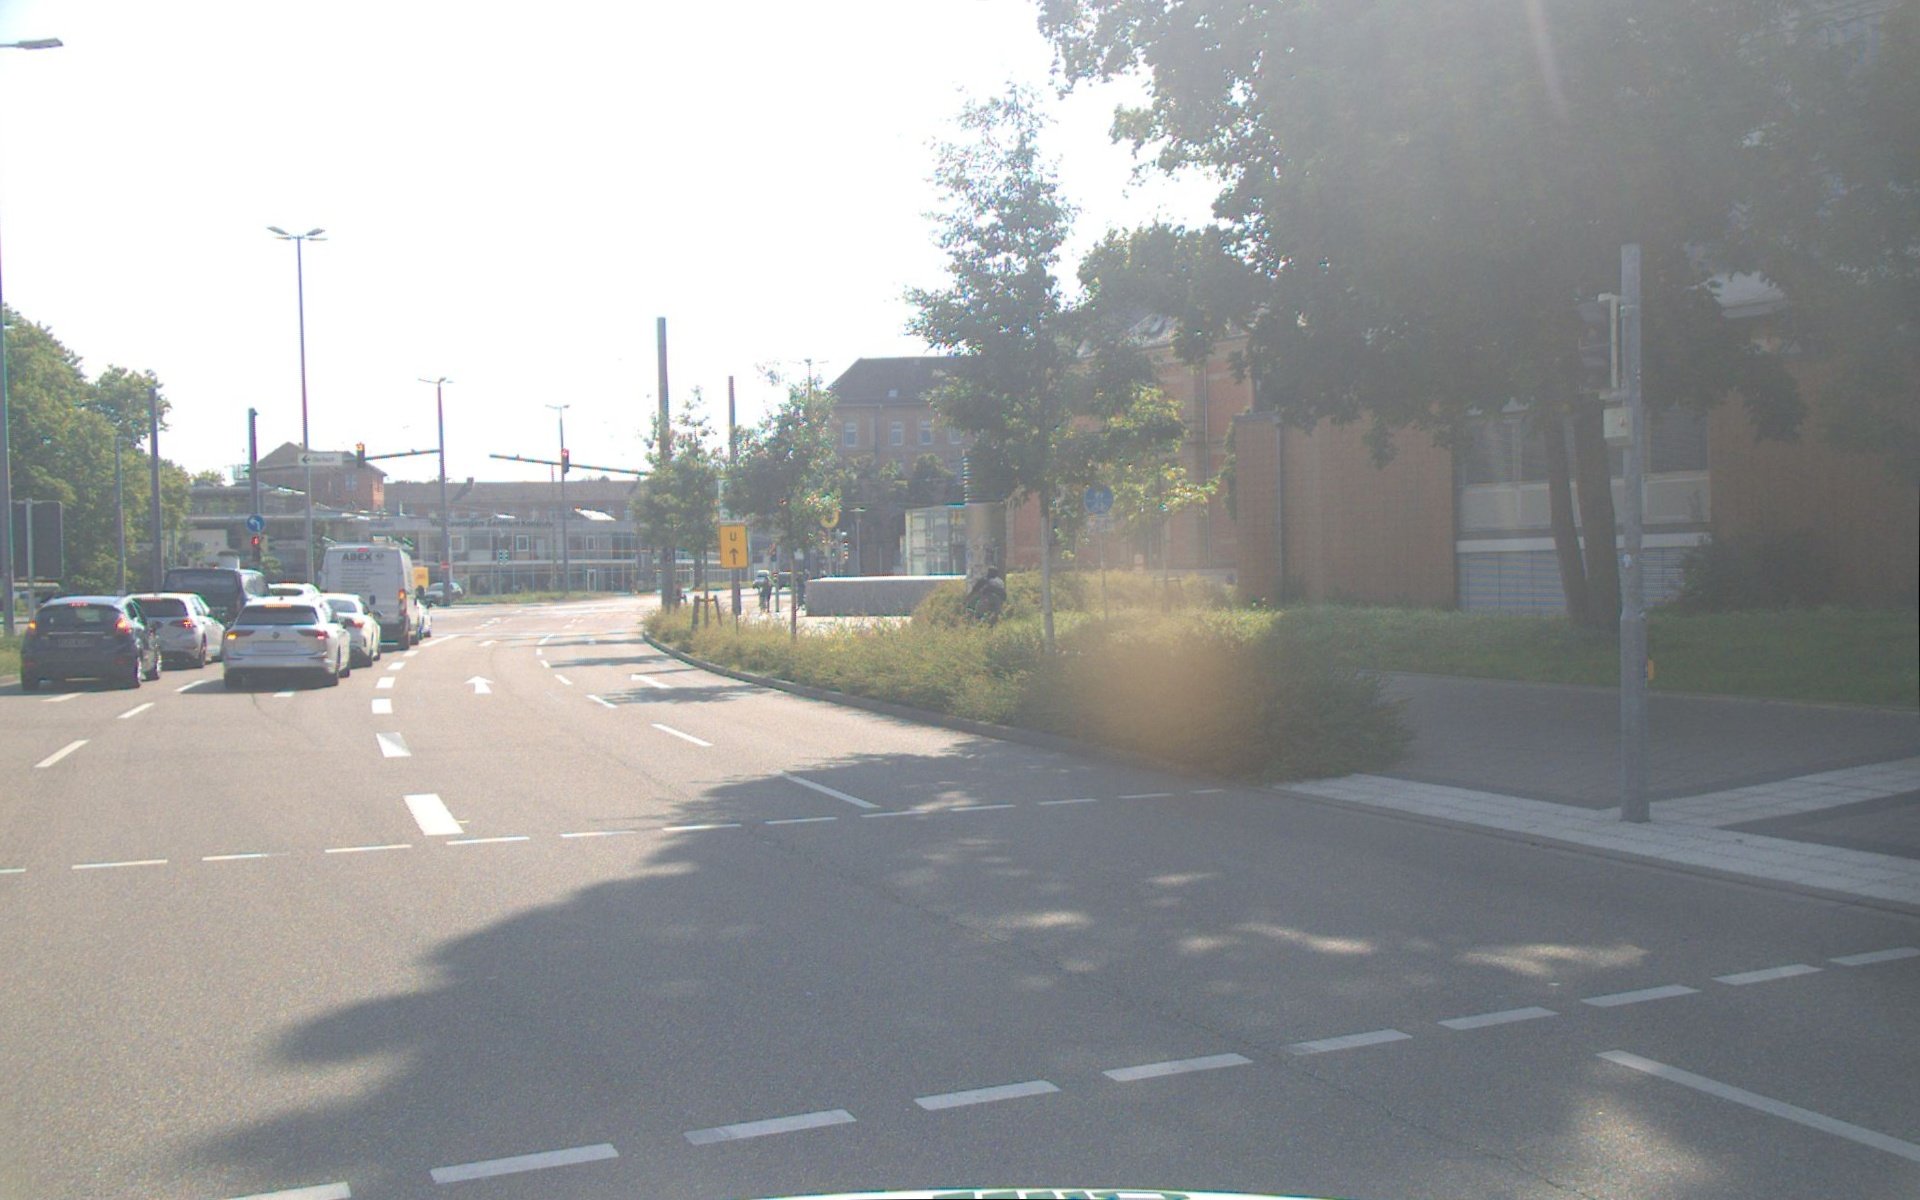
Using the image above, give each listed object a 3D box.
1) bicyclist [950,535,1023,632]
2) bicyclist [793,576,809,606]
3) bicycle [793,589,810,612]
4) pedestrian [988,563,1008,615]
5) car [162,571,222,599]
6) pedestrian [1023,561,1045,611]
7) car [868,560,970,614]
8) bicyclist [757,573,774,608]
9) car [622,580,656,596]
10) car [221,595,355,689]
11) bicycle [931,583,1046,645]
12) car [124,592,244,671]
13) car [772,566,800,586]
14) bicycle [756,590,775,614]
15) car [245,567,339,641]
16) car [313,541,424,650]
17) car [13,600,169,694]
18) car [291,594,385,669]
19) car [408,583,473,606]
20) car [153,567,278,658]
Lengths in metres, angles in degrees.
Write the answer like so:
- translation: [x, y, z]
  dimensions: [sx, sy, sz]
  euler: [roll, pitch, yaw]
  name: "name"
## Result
- translation: [0.447, -0.289, 28.111]
  dimensions: [0.767, 1.606, 0.976]
  euler: [-2, 1, -39]
  name: "bicyclist"
- translation: [-7.705, -0.442, 80.194]
  dimensions: [0.692, 1.418, 0.829]
  euler: [-1, 1, -3]
  name: "bicyclist"
- translation: [-7.693, 0.018, 80.177]
  dimensions: [0.692, 1.080, 1.981]
  euler: [-1, 1, -3]
  name: "bicycle"
- translation: [1.221, -0.352, 53.038]
  dimensions: [0.601, 1.667, 0.534]
  euler: [-1, 1, 4]
  name: "pedestrian"
- translation: [-59.405, -1.152, 128.020]
  dimensions: [3.927, 2.048, 1.990]
  euler: [-1, 3, -19]
  name: "car"
- translation: [2.510, -0.485, 56.024]
  dimensions: [0.604, 1.657, 0.532]
  euler: [-1, 1, -12]
  name: "pedestrian"
- translation: [-1.684, -0.568, 68.621]
  dimensions: [3.956, 2.048, 1.732]
  euler: [-2, 4, -36]
  name: "car"
- translation: [-8.916, -0.445, 75.899]
  dimensions: [0.698, 1.556, 0.806]
  euler: [-1, 1, -3]
  name: "bicyclist"
- translation: [-30.779, -1.144, 158.727]
  dimensions: [1.951, 1.467, 4.004]
  euler: [-1, 1, 7]
  name: "car"
- translation: [-11.113, 0.655, 27.543]
  dimensions: [1.658, 1.412, 3.618]
  euler: [-1, 0, -16]
  name: "car"
- translation: [0.461, 0.230, 28.113]
  dimensions: [0.767, 0.993, 2.119]
  euler: [-2, 1, -39]
  name: "bicycle"
- translation: [-15.519, 0.584, 33.222]
  dimensions: [1.464, 1.439, 3.635]
  euler: [-1, 1, -14]
  name: "car"
- translation: [-18.464, -2.578, 175.588]
  dimensions: [2.363, 2.048, 4.779]
  euler: [-1, 1, 1]
  name: "car"
- translation: [-8.909, 0.079, 75.868]
  dimensions: [0.692, 1.080, 1.981]
  euler: [-1, 1, -3]
  name: "bicycle"
- translation: [-19.469, 0.097, 48.409]
  dimensions: [1.990, 2.043, 4.664]
  euler: [-1, 0, -15]
  name: "car"
- translation: [-15.031, -0.113, 42.239]
  dimensions: [2.152, 2.594, 4.666]
  euler: [-1, 0, -14]
  name: "car"
- translation: [-14.179, 0.708, 27.188]
  dimensions: [1.676, 1.392, 3.941]
  euler: [-1, 0, -19]
  name: "car"
- translation: [-12.657, 0.608, 33.823]
  dimensions: [1.465, 1.427, 3.925]
  euler: [-1, 0, -16]
  name: "car"
- translation: [-33.872, -0.347, 107.828]
  dimensions: [3.911, 1.365, 1.917]
  euler: [-2, 1, -22]
  name: "car"
- translation: [-17.915, 0.268, 40.008]
  dimensions: [1.990, 2.043, 4.664]
  euler: [-1, 0, -15]
  name: "car"
